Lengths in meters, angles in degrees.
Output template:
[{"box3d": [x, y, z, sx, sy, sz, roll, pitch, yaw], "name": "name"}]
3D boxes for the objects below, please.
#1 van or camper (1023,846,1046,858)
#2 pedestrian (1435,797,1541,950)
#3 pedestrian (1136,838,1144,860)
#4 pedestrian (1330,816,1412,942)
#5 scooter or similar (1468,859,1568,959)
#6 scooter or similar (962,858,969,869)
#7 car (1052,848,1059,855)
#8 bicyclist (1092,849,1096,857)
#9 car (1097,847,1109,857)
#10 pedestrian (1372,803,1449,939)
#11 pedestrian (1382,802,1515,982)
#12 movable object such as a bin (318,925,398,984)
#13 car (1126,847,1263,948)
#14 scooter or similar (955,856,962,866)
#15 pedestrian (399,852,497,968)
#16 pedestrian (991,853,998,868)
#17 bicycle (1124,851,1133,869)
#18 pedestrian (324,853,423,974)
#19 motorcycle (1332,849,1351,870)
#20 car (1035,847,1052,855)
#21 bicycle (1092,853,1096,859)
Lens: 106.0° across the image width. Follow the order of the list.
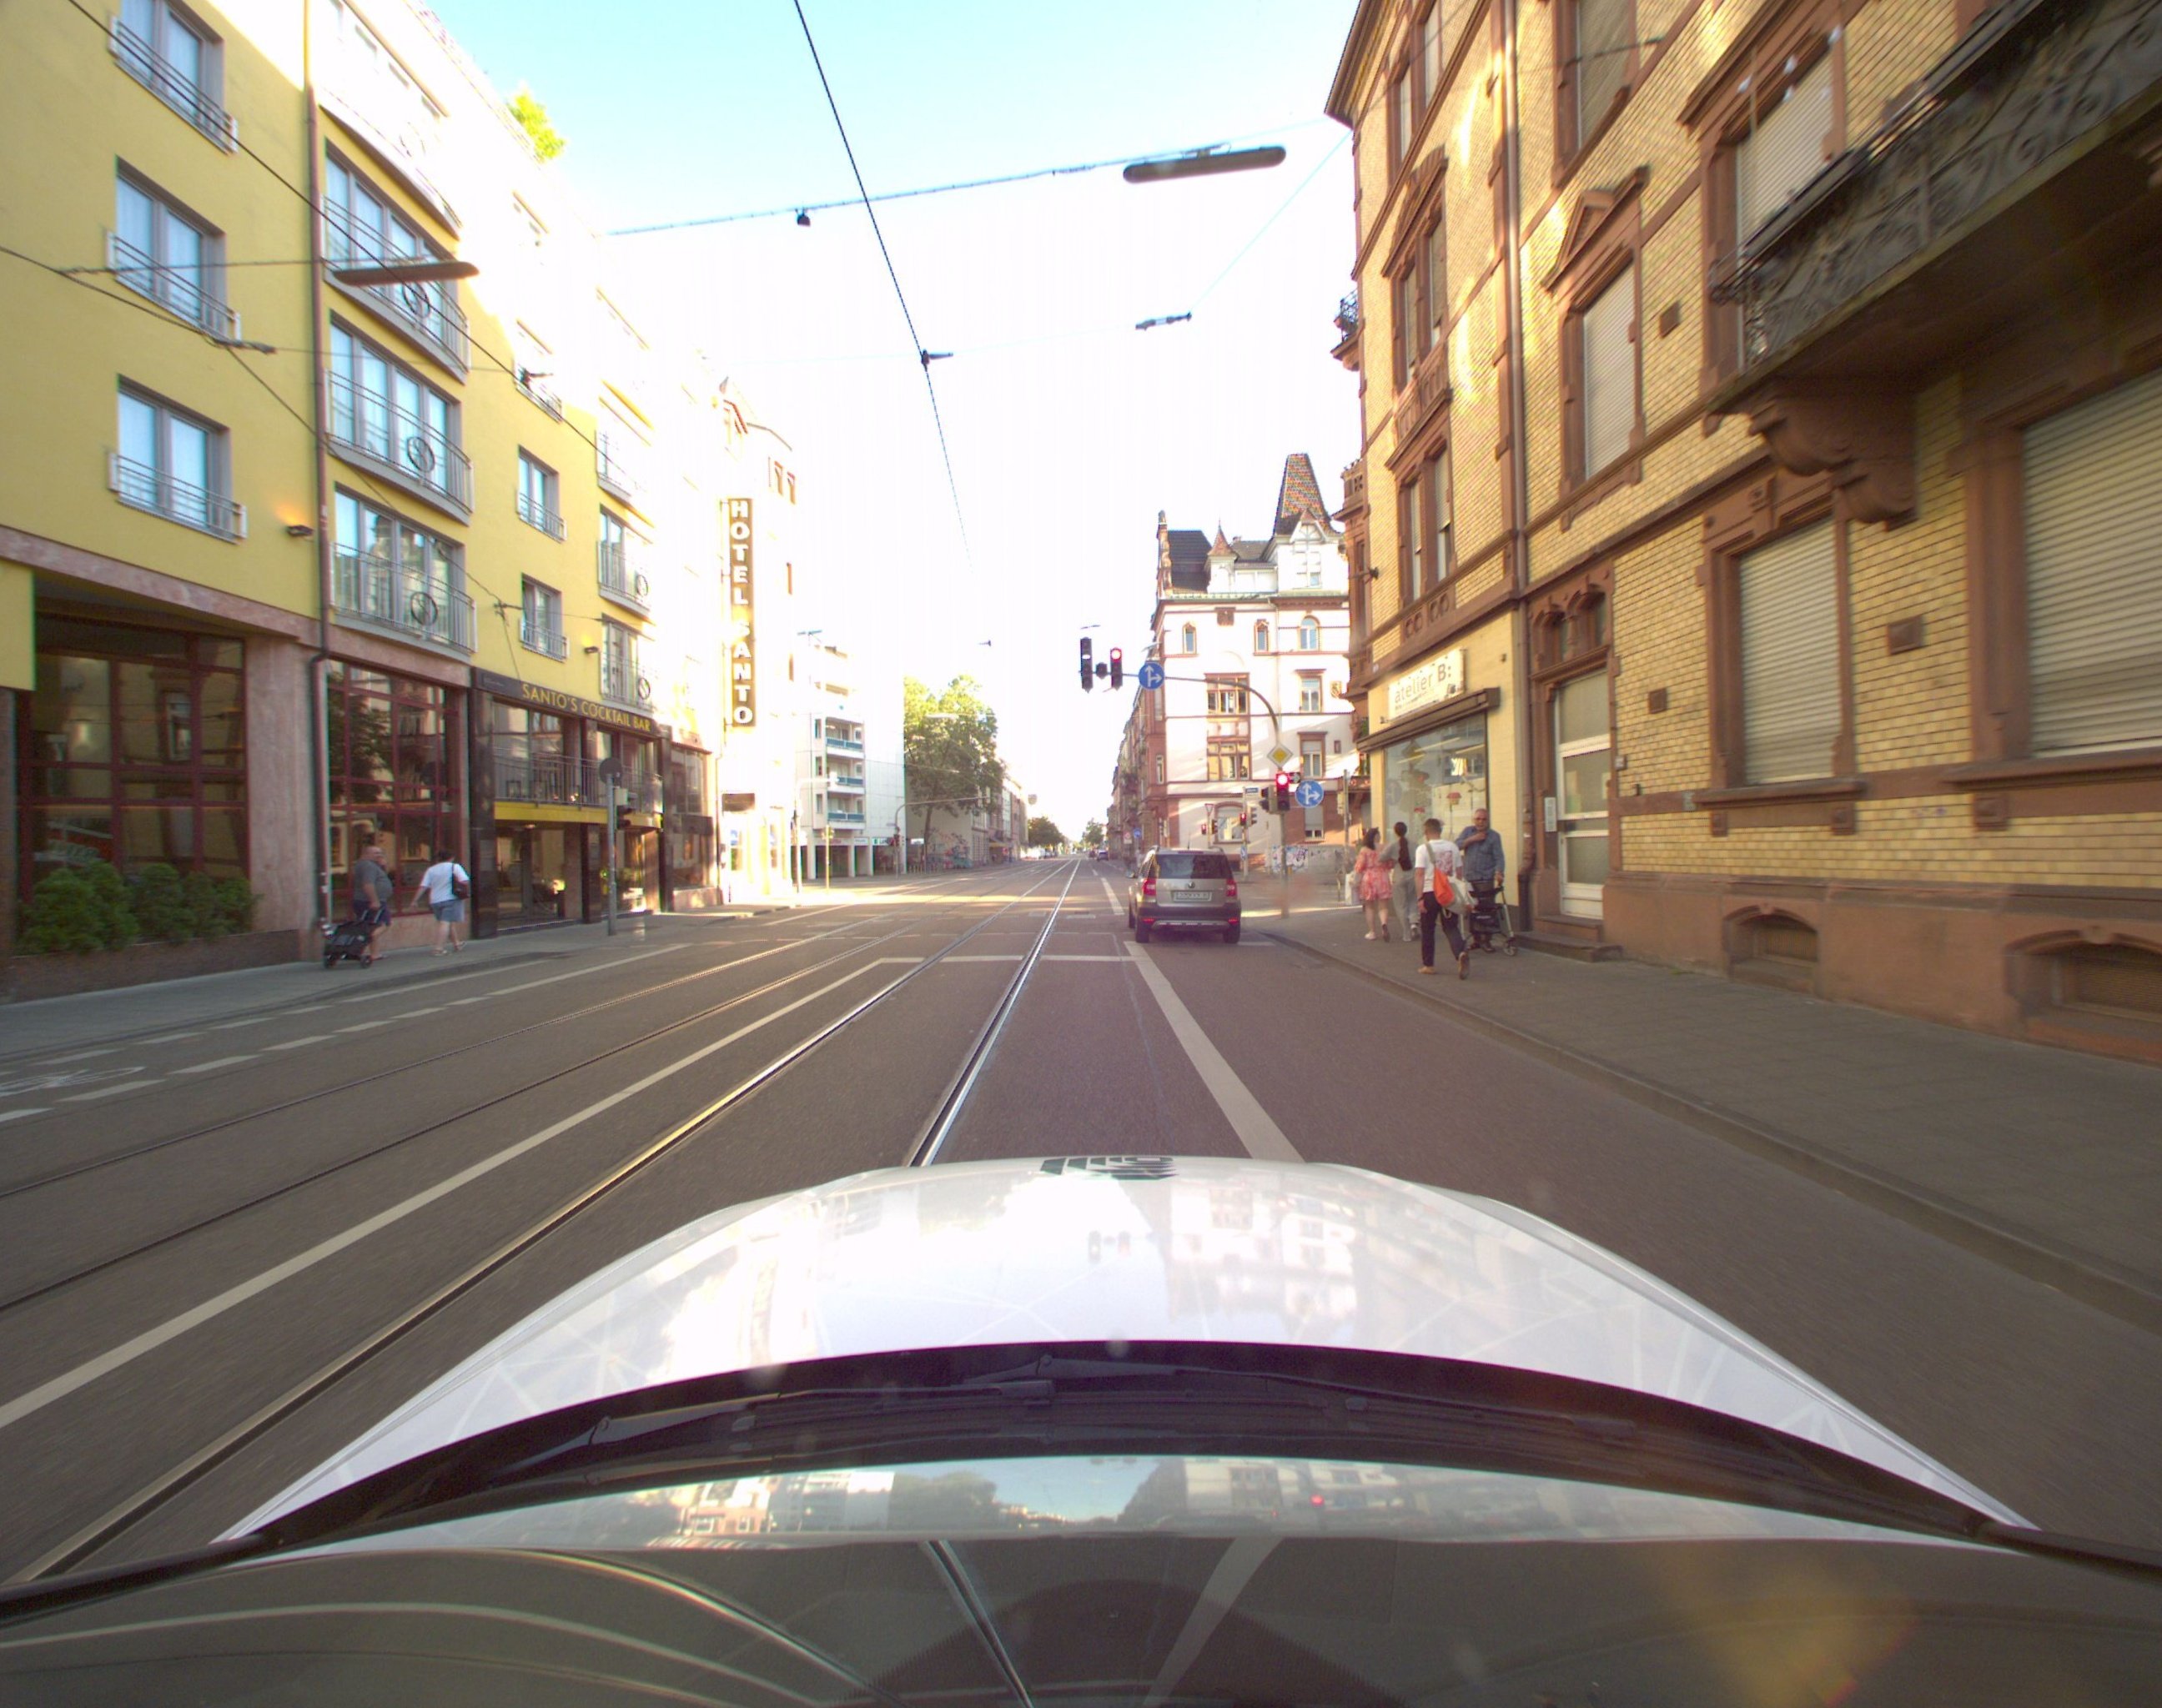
[{"box3d": [-10.451, -0.495, 184.015, 4.665, 2.563, 1.980, -1, 0, -31], "name": "van or camper"}, {"box3d": [5.172, 0.234, 10.388, 0.803, 1.799, 0.761, -6, 1, 0], "name": "pedestrian"}, {"box3d": [4.867, -0.441, 67.467, 0.542, 1.780, 0.504, -2, 0, 1], "name": "pedestrian"}, {"box3d": [4.432, 0.371, 12.501, 0.803, 1.799, 0.761, -6, 1, -1], "name": "pedestrian"}, {"box3d": [5.203, 0.636, 9.728, 0.803, 1.070, 0.521, -7, 0, 0], "name": "scooter or similar"}, {"box3d": [-12.126, 0.971, 85.289, 0.515, 1.057, 1.477, -2, 0, -2], "name": "scooter or similar"}, {"box3d": [-7.638, -0.721, 245.920, 1.987, 2.013, 3.999, -2, 0, 0], "name": "car"}, {"box3d": [2.497, -0.155, 157.113, 0.573, 1.554, 0.595, -2, 0, 1], "name": "bicyclist"}, {"box3d": [3.638, -0.337, 134.135, 1.943, 1.684, 4.001, -2, 0, 1], "name": "car"}, {"box3d": [4.879, 0.240, 12.098, 0.689, 1.908, 0.670, -6, 1, -1], "name": "pedestrian"}, {"box3d": [4.027, 0.389, 9.018, 0.803, 1.799, 1.091, -6, 1, -1], "name": "pedestrian"}, {"box3d": [-10.504, 1.447, 11.852, 0.382, 0.716, 0.841, 2, 1, 2], "name": "movable object such as a bin"}, {"box3d": [1.955, 0.698, 15.226, 1.987, 1.618, 4.000, 1, 0, 0], "name": "car"}, {"box3d": [-12.810, 0.743, 85.249, 0.515, 1.045, 1.477, -2, 0, -2], "name": "scooter or similar"}, {"box3d": [-10.532, 0.900, 13.589, 0.749, 1.818, 1.046, 2, 1, 0], "name": "pedestrian"}, {"box3d": [-10.073, 0.799, 94.576, 0.699, 1.728, 0.647, -2, 0, 0], "name": "pedestrian"}, {"box3d": [3.794, 0.465, 64.900, 0.650, 1.323, 2.178, -2, 0, 3], "name": "bicycle"}, {"box3d": [-10.902, 0.897, 12.574, 0.795, 1.771, 0.749, 2, 1, 0], "name": "pedestrian"}, {"box3d": [14.209, 0.287, 44.467, 0.714, 1.020, 2.295, -2, 2, 12], "name": "motorcycle"}, {"box3d": [-10.109, -0.681, 219.876, 4.006, 2.013, 1.984, -2, 0, -25], "name": "car"}, {"box3d": [2.520, 0.385, 157.120, 0.573, 1.030, 1.895, -2, 0, 2], "name": "bicycle"}]
